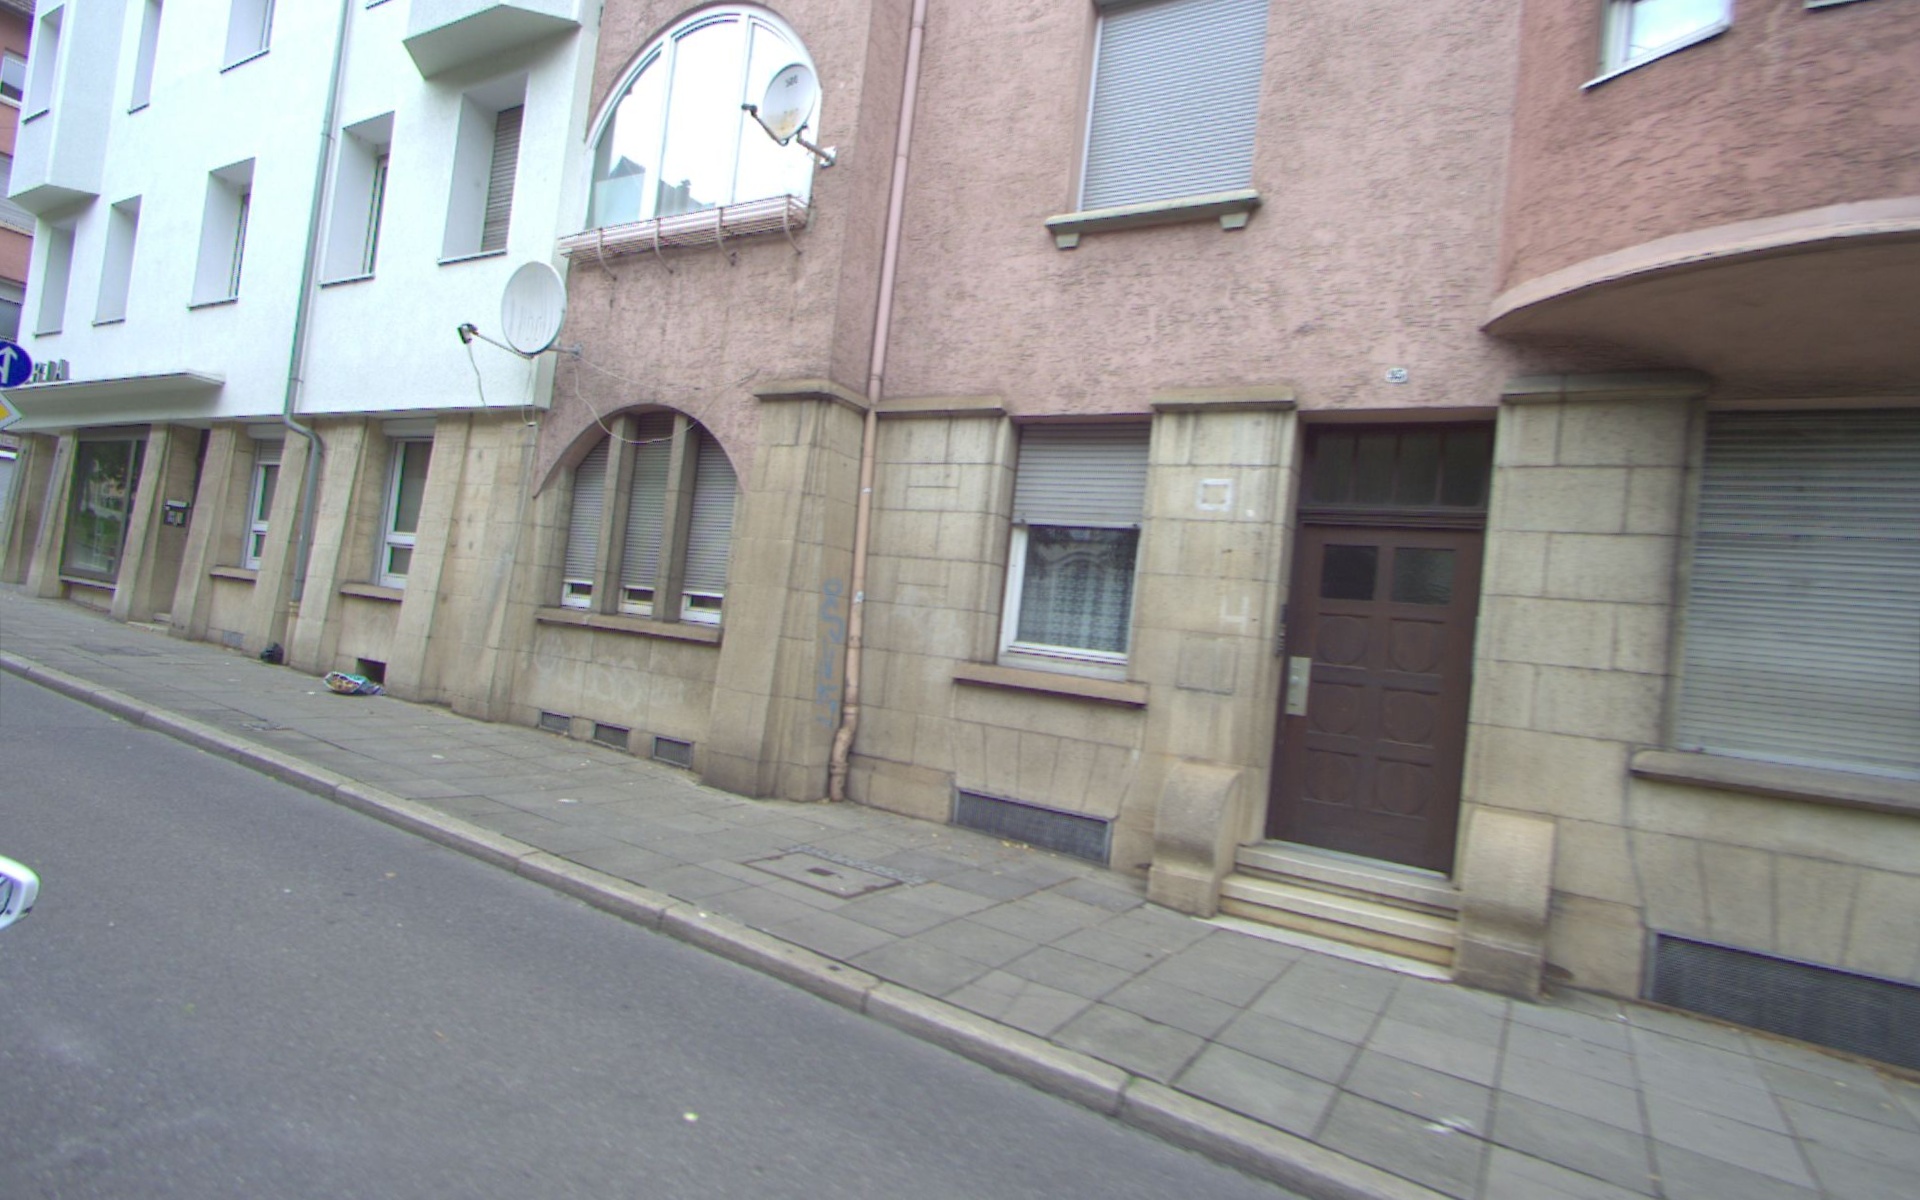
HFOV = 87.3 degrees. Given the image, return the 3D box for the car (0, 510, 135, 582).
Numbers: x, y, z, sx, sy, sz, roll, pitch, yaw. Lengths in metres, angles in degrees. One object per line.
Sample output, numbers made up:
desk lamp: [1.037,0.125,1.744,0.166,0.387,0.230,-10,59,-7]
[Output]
car: [-22.460,-1.381,23.819,1.962,1.392,4.003,7,-1,16]
